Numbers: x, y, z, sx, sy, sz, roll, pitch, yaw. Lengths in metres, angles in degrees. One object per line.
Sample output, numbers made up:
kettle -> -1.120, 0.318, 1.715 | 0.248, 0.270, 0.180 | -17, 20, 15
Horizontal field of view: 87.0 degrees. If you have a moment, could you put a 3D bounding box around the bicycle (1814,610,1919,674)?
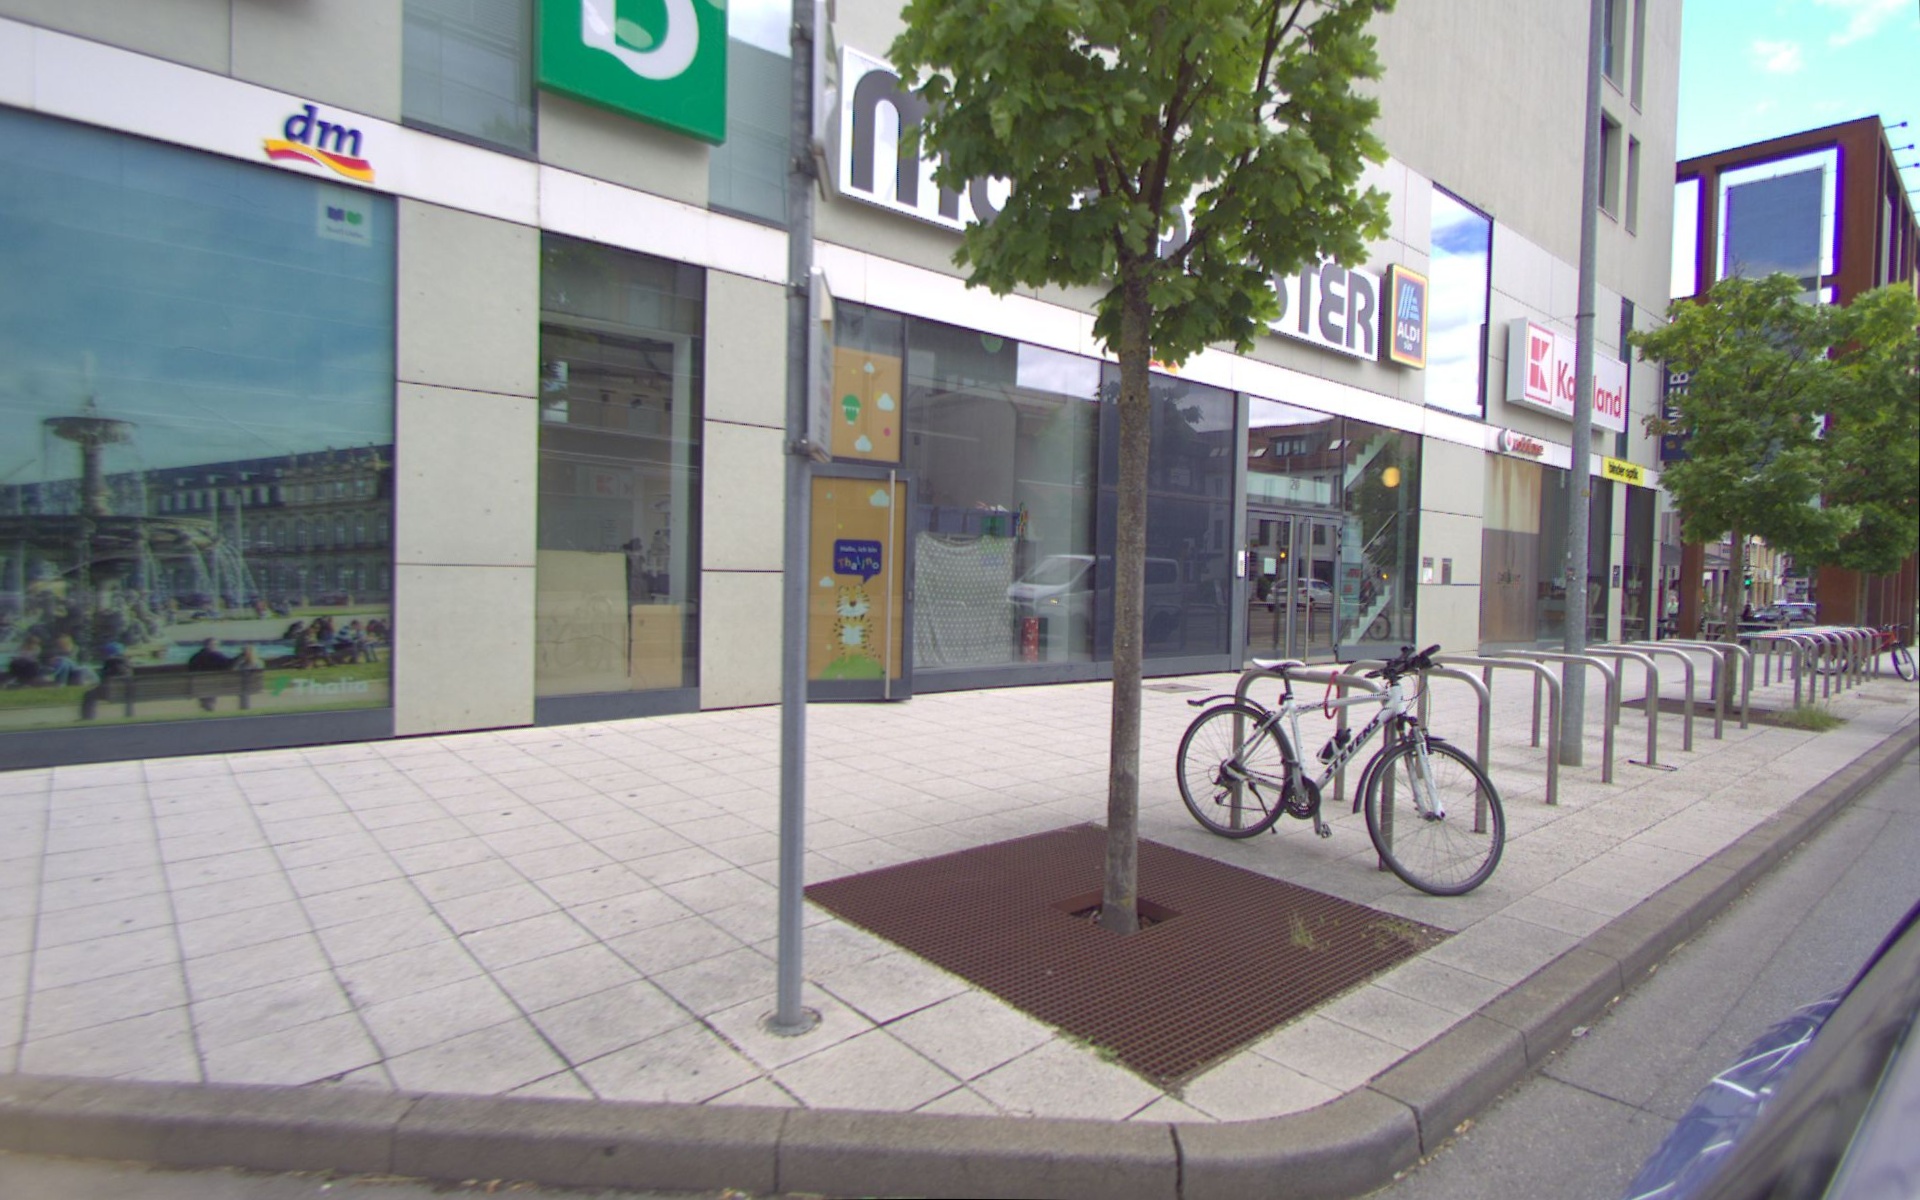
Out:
bicycle -> 16.508, 0.742, 18.161 | 1.740, 1.034, 0.445 | 4, 2, 44

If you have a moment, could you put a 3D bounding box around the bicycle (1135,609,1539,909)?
bicycle -> 1.780, 0.668, 4.993 | 1.740, 1.113, 0.553 | 5, 4, 43
